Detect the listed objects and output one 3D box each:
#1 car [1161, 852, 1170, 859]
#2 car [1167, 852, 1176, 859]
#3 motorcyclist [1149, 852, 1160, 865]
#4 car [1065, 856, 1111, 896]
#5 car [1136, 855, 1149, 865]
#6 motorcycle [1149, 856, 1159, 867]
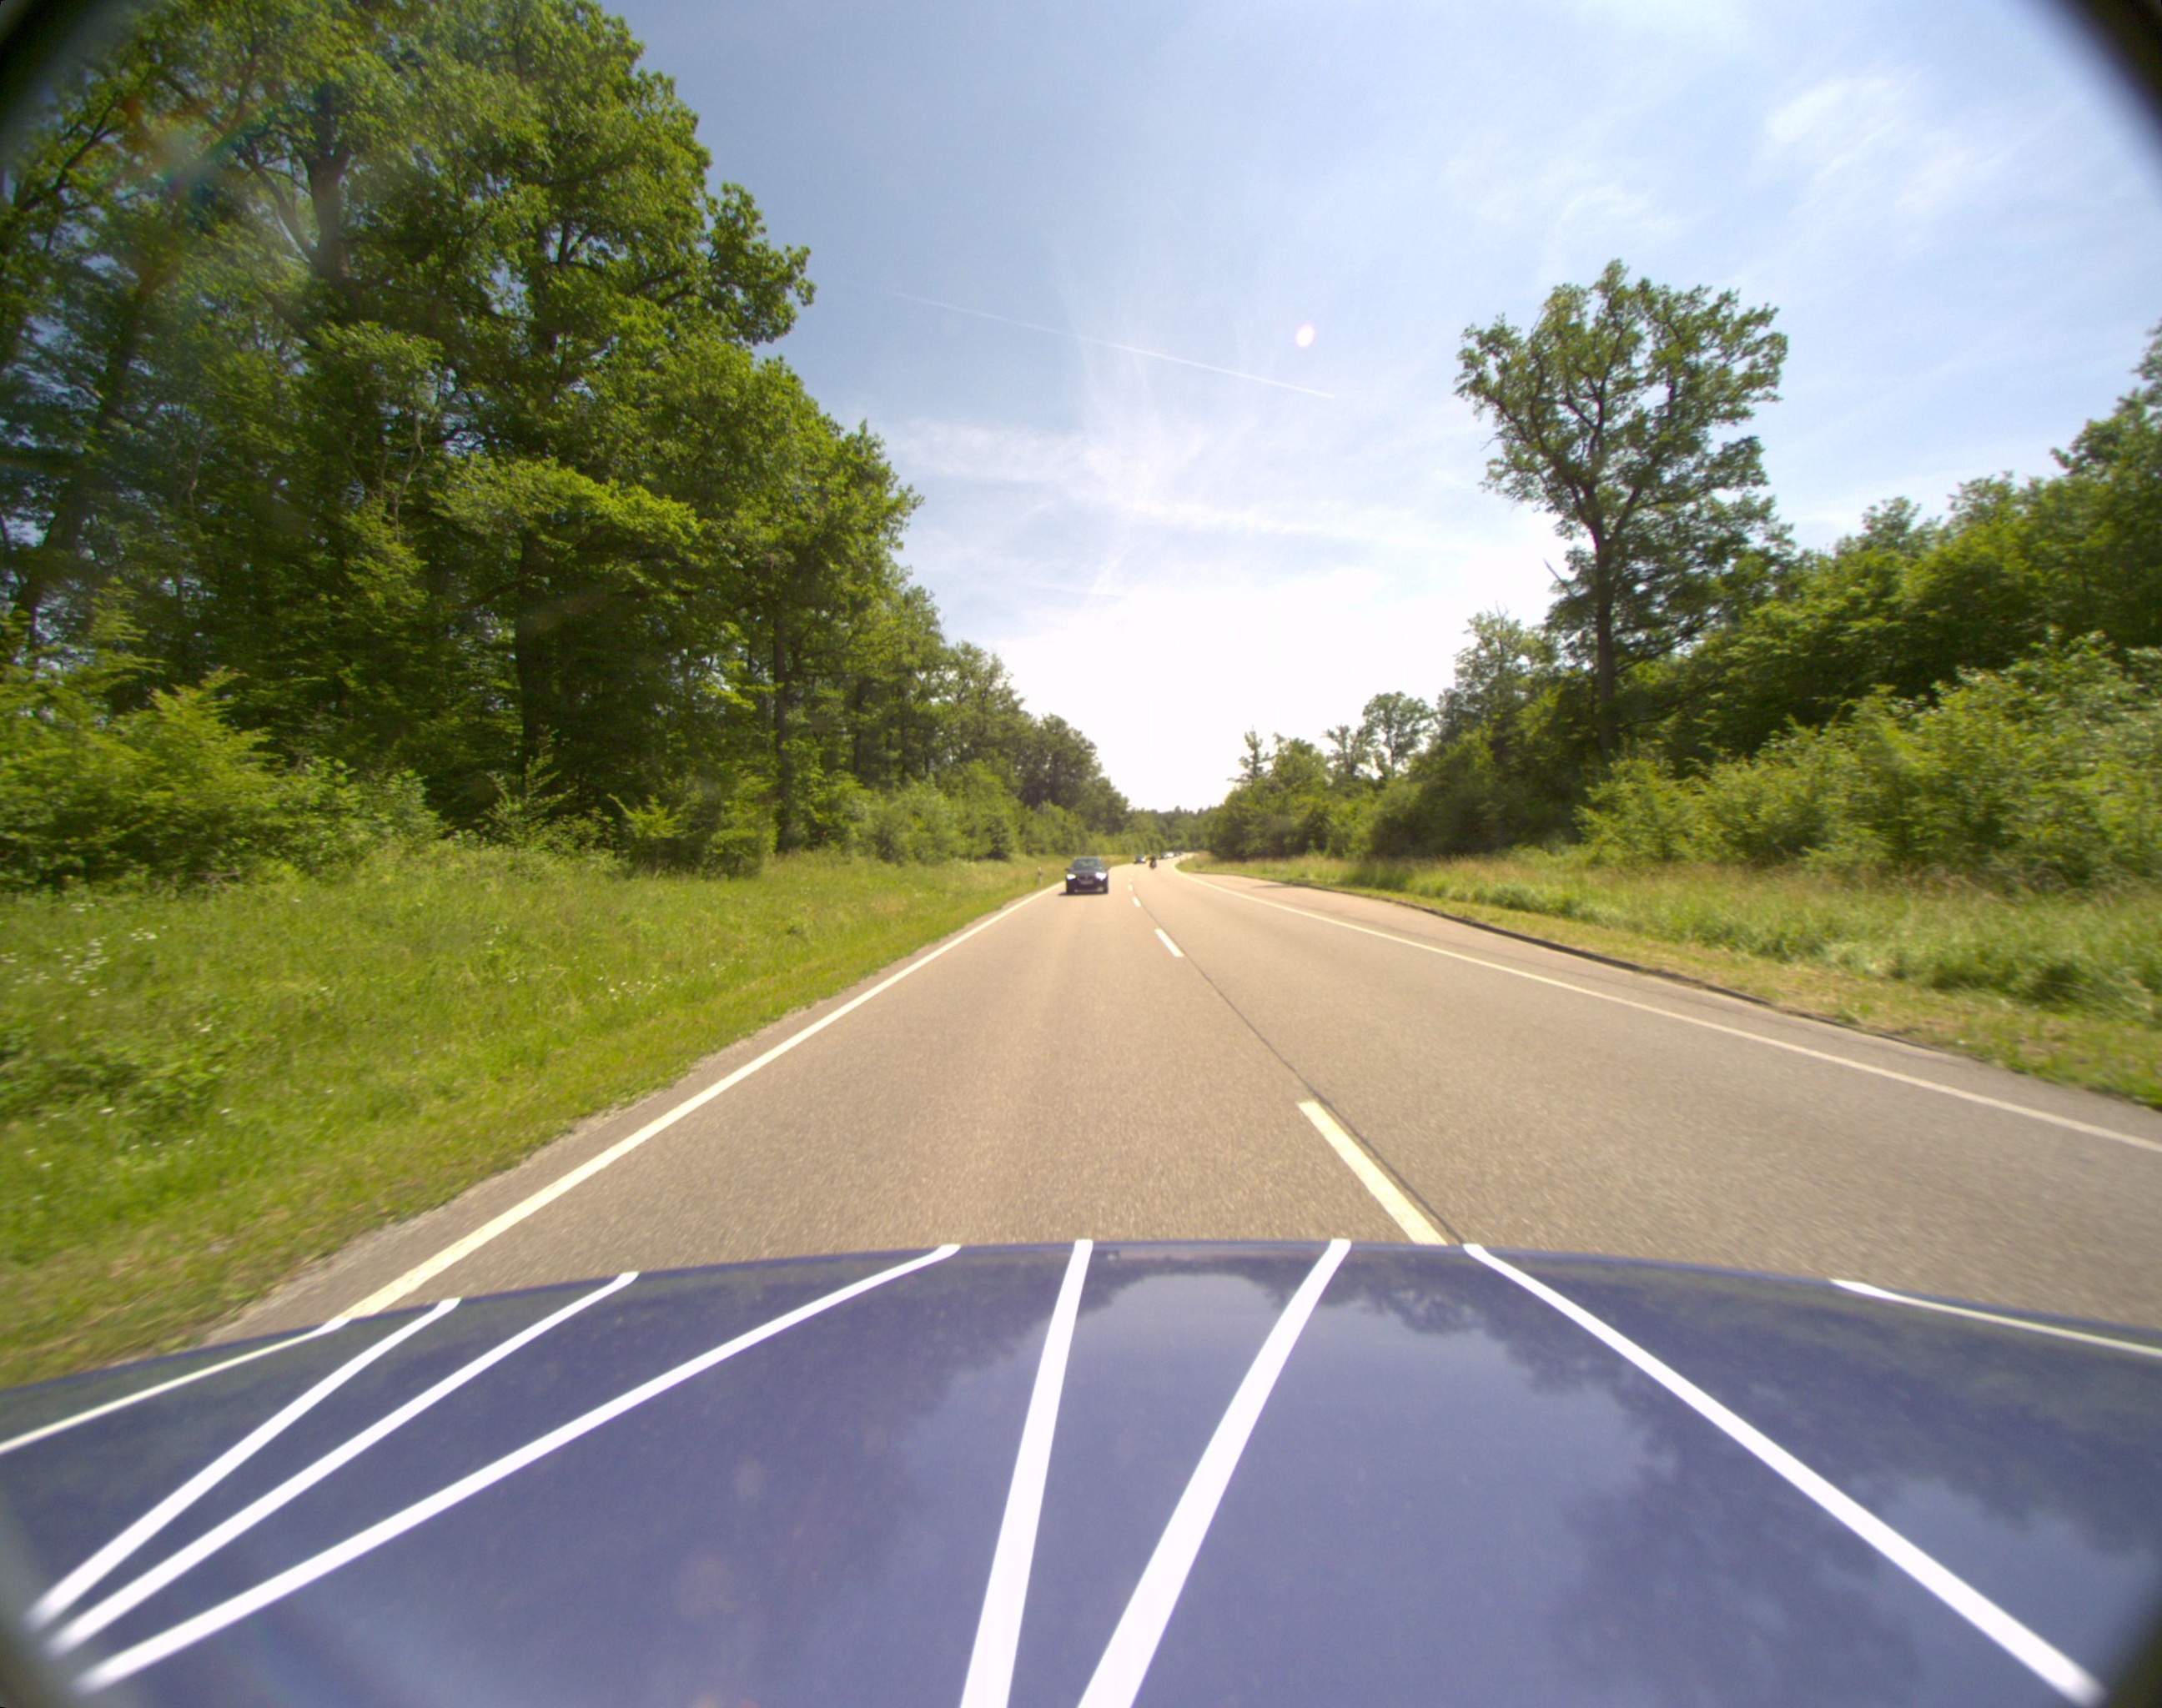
[{"bbox_3d":[18.831,0.359,169.616,1.775,1.454,4.002,-2,0,7],"label":"car"},{"bbox_3d":[23.505,0.316,197.542,2.018,1.737,4.383,-2,0,9],"label":"car"},{"bbox_3d":[7.529,0.465,78.047,1.011,1.319,0.966,-2,1,6],"label":"motorcyclist"},{"bbox_3d":[0.353,0.877,32.504,1.713,1.516,4.242,-2,0,3],"label":"car"},{"bbox_3d":[9.781,0.903,121.527,1.775,1.454,3.950,-2,0,8],"label":"car"},{"bbox_3d":[7.511,0.801,77.926,1.016,1.056,2.773,-1,0,6],"label":"motorcycle"}]
